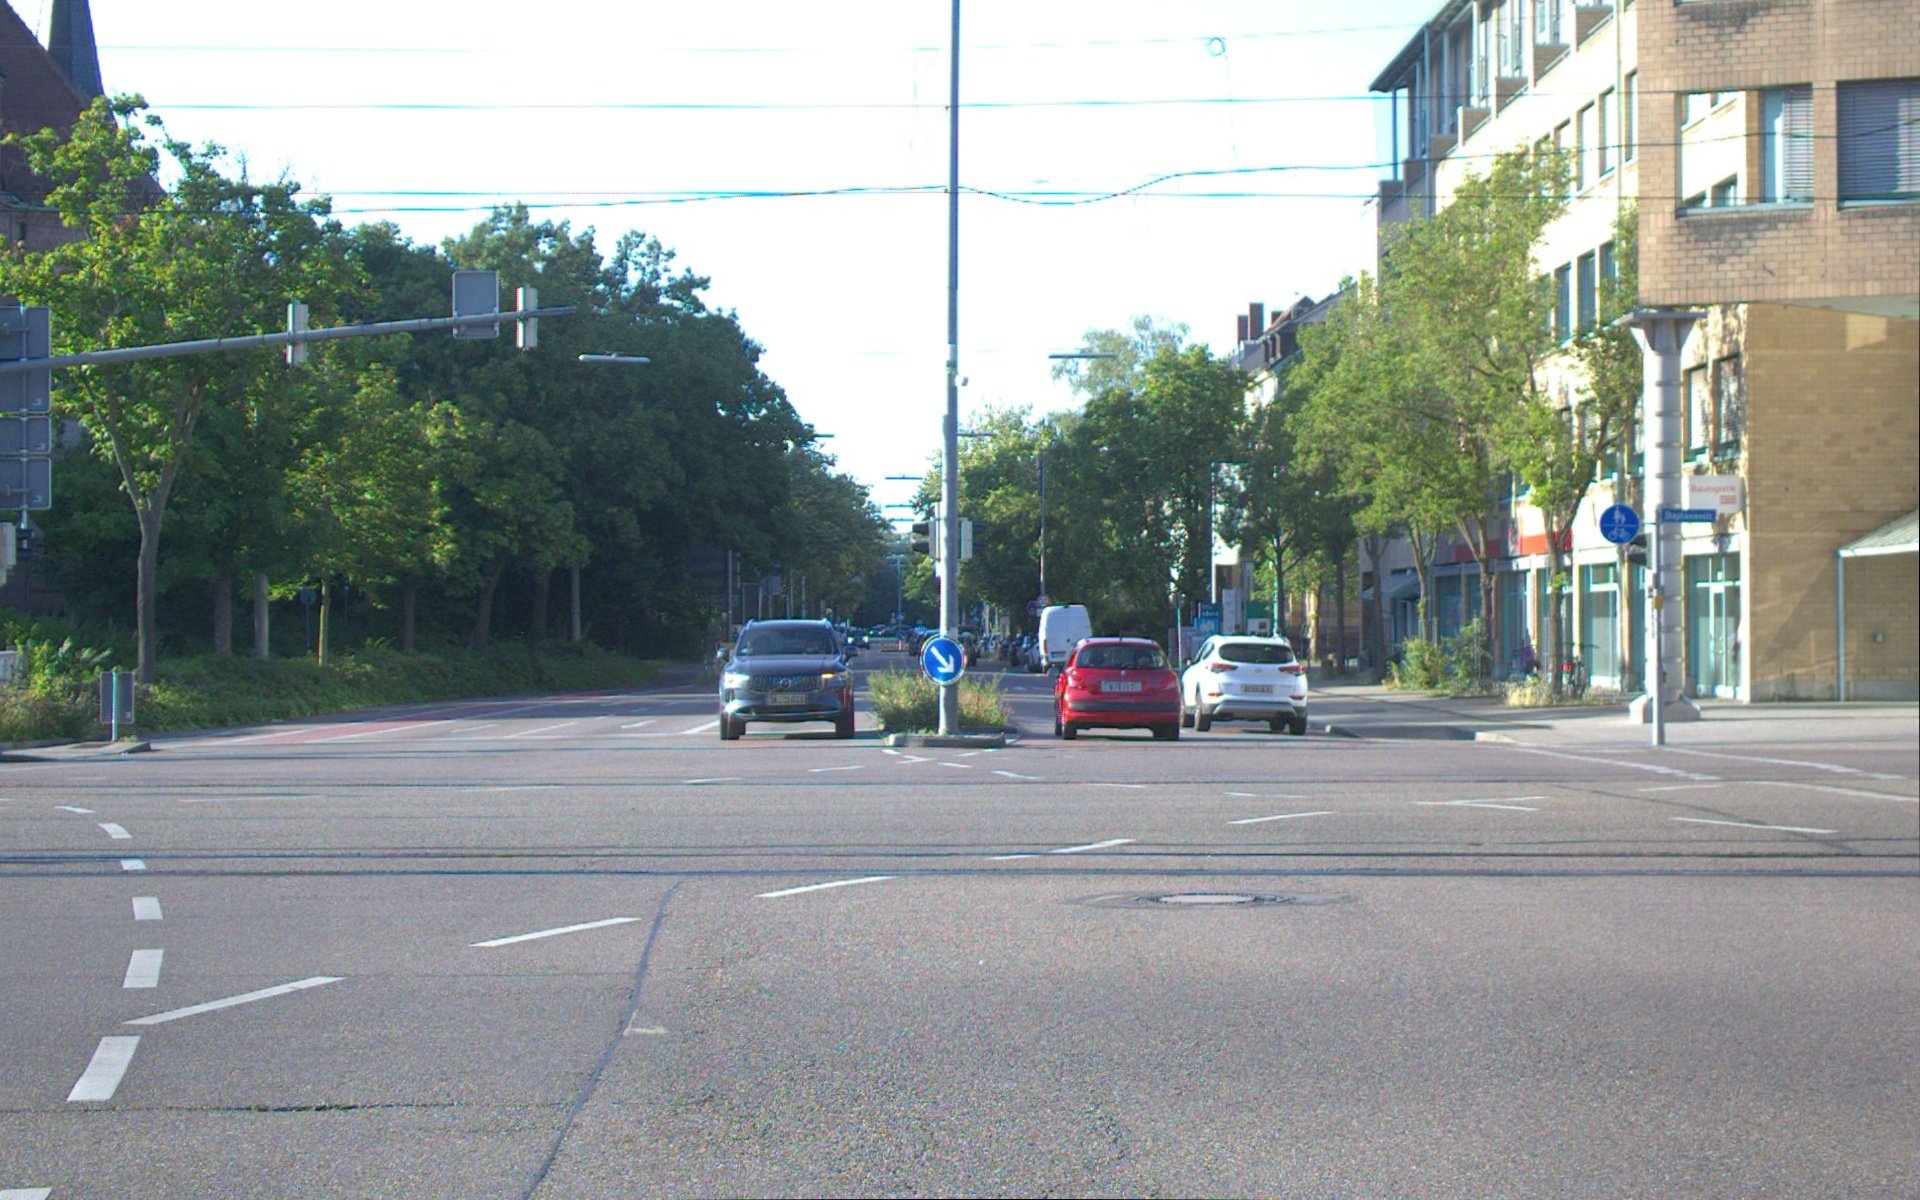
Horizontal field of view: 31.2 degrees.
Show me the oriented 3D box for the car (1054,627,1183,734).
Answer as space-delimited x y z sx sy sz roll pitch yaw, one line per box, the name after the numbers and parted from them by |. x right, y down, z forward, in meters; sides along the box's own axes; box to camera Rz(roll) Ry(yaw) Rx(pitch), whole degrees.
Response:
2.279 1.150 50.309 1.670 1.457 4.000 1 0 0 | car

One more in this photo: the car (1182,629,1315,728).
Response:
4.965 1.332 59.706 1.916 1.602 4.269 1 0 0 | car

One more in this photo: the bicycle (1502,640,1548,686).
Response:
12.401 1.372 75.462 0.646 0.991 2.081 0 0 -1 | bicycle

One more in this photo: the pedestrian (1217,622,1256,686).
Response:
8.478 1.646 105.342 1.107 1.969 1.161 0 -1 0 | pedestrian

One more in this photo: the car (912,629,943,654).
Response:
-1.692 2.159 178.976 1.594 1.263 3.266 0 0 0 | car

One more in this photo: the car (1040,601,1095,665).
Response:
4.199 1.286 135.225 1.993 2.432 4.000 1 0 0 | car

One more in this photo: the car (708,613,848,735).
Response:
-2.674 1.104 51.360 1.993 1.718 5.031 0 -1 -2 | car

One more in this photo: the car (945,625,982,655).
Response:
0.148 1.732 149.757 1.594 1.263 3.266 0 0 0 | car

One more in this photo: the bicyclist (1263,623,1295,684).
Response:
7.269 1.218 78.369 0.592 1.364 0.930 2 0 0 | bicyclist

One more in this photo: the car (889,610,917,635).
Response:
-4.020 1.586 242.081 1.886 1.665 4.000 1 0 0 | car

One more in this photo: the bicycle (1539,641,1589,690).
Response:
12.450 1.351 70.932 0.646 0.991 2.081 0 0 -1 | bicycle
